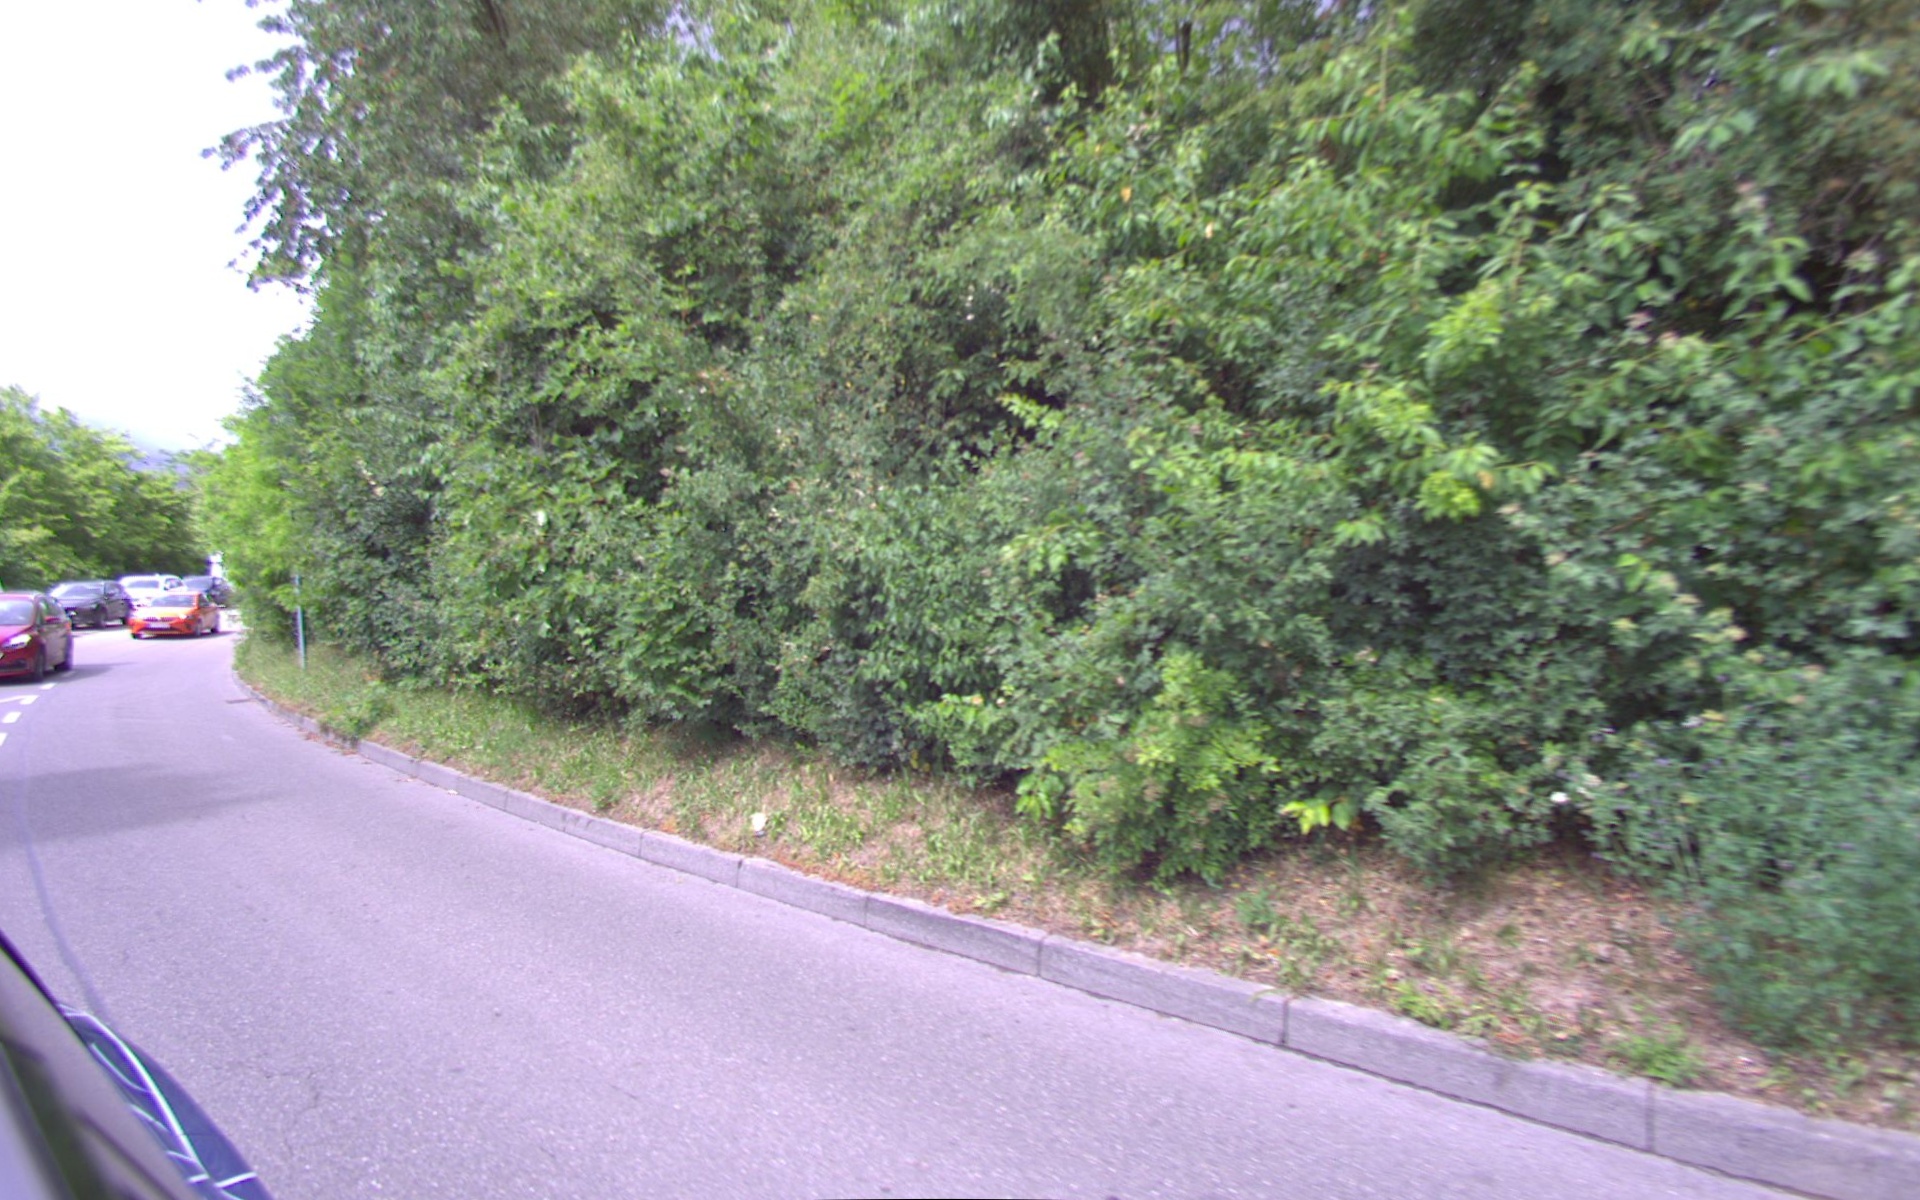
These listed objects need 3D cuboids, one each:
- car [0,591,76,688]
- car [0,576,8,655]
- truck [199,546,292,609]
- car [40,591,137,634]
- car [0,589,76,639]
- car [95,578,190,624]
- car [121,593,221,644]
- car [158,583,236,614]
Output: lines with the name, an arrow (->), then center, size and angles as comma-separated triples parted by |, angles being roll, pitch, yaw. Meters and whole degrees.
car -> -18.546, 0.708, 19.323 | 1.881, 1.711, 4.399 | 1, -1, -33
car -> -24.955, 0.425, 24.245 | 1.839, 2.074, 5.444 | -1, 0, -29
truck -> -37.859, -1.150, 53.846 | 2.187, 3.166, 6.166 | -1, 0, -17
car -> -30.714, 0.410, 35.776 | 1.766, 1.423, 4.118 | -1, 0, -29
car -> -28.230, 0.408, 30.332 | 1.766, 1.423, 4.118 | -1, 0, -29
car -> -32.993, 0.034, 40.960 | 1.766, 1.726, 4.118 | -1, 0, -20
car -> -25.499, 0.554, 32.855 | 1.766, 1.423, 4.127 | 0, 2, -27
car -> -35.463, -0.078, 47.148 | 1.766, 1.393, 4.118 | -1, 0, -20
